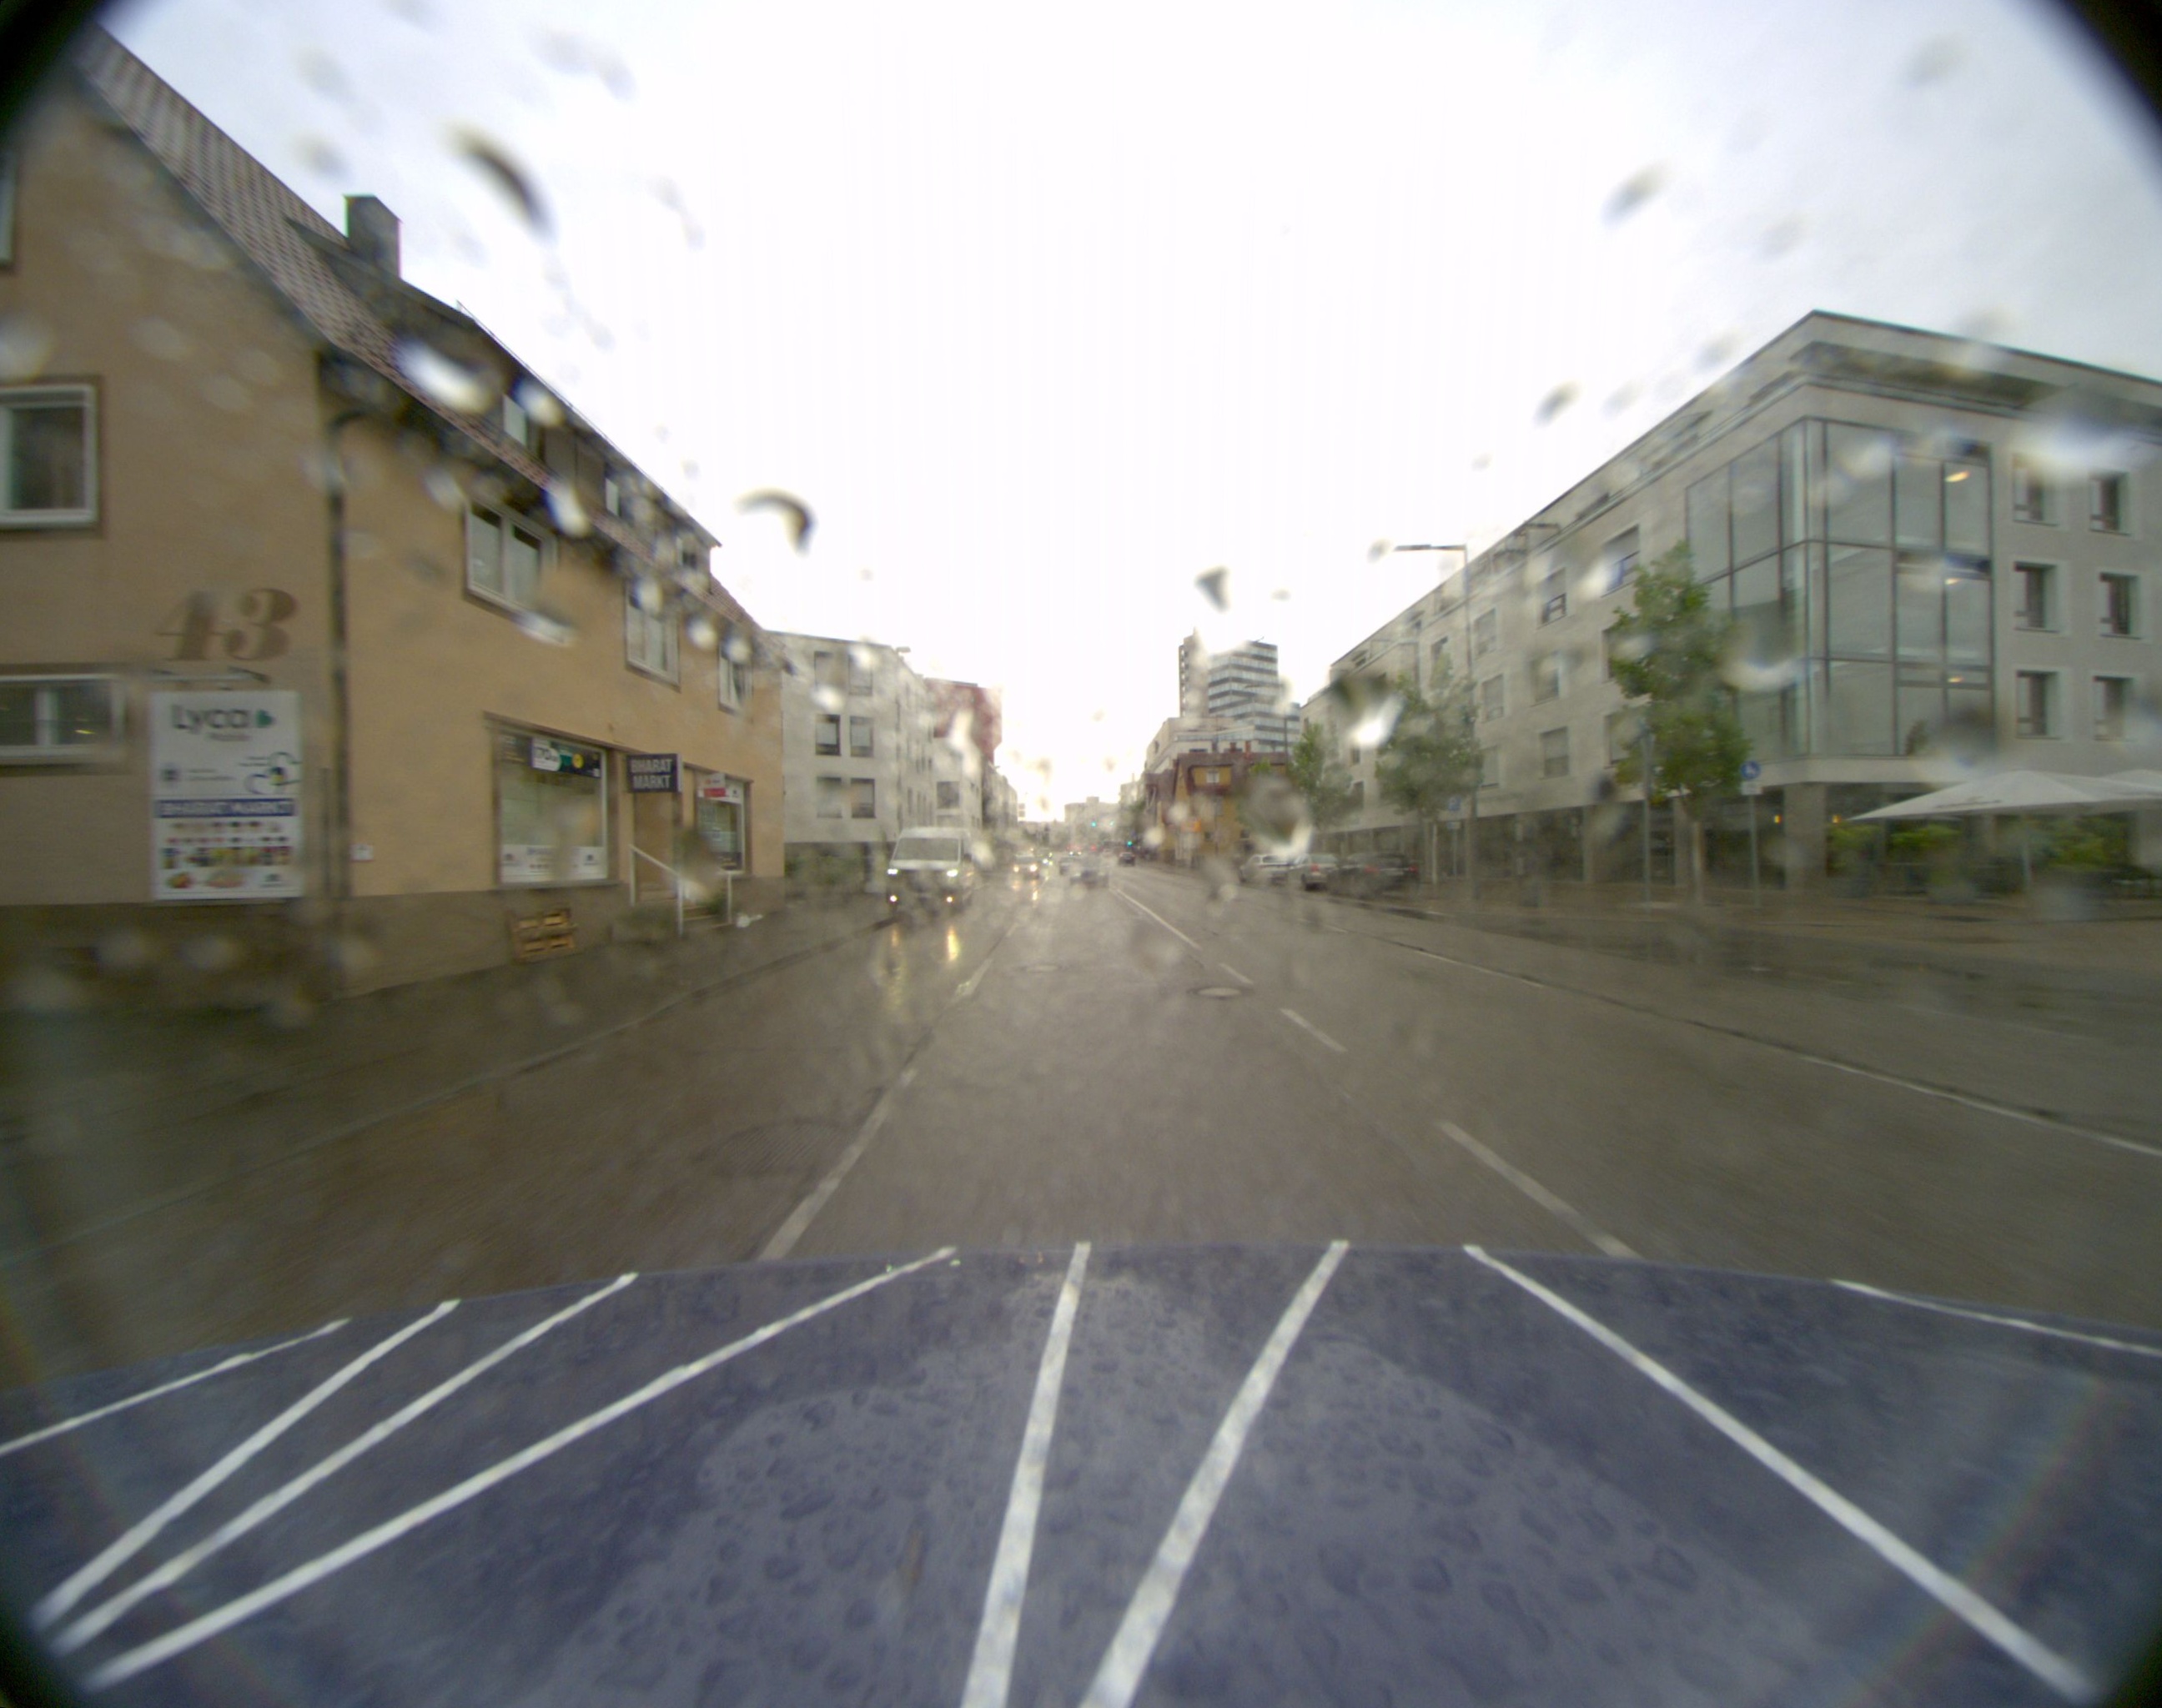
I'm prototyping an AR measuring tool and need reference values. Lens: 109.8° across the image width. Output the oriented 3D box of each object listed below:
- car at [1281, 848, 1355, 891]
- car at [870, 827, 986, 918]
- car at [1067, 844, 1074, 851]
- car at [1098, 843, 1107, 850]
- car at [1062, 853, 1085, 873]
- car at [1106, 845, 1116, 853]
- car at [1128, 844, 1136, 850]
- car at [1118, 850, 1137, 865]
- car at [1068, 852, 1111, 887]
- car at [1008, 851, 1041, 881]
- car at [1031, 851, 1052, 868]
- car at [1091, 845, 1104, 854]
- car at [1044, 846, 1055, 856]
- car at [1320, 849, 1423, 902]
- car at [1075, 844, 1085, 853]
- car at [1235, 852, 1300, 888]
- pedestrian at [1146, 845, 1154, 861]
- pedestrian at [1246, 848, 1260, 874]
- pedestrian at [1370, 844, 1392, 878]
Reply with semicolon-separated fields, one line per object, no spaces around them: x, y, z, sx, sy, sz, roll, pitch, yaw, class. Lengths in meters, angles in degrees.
9.469;0.546;30.701;1.695;1.501;4.576;0;2;2;car
-4.423;0.386;23.222;2.297;2.369;6.622;0;2;-1;car
-2.642;-1.535;186.222;1.711;1.508;4.390;0;2;-1;car
4.964;-1.718;177.943;2.006;1.608;4.947;0;2;2;car
-0.623;0.639;57.398;1.662;1.300;3.993;0;2;-2;car
5.398;-0.930;138.102;1.653;1.410;4.137;2;2;0;car
12.277;-1.737;183.632;1.758;1.402;3.728;0;2;-1;car
5.233;0.367;85.838;1.885;1.515;4.182;0;2;-1;car
0.341;0.651;35.105;1.689;1.373;3.791;-2;2;-3;car
-3.646;0.754;49.882;2.017;1.613;4.357;-2;3;-3;car
-4.188;0.548;80.327;2.059;1.638;4.477;-1;2;-4;car
2.698;-0.758;124.197;1.773;1.406;4.523;0;2;-2;car
-5.011;-0.486;119.466;1.507;1.342;3.724;-1;2;-5;car
9.376;0.647;24.911;1.591;1.573;4.470;0;0;-1;car
-0.278;-1.002;140.518;1.720;1.442;4.196;0;2;-1;car
8.902;0.717;36.630;1.800;1.454;4.476;-1;2;-3;car
8.700;-0.113;95.393;0.663;1.910;0.946;-3;2;-9;pedestrian
11.836;0.487;52.343;0.802;1.778;0.882;0;2;2;pedestrian
15.652;0.335;39.688;0.810;1.728;1.003;0;2;4;pedestrian
